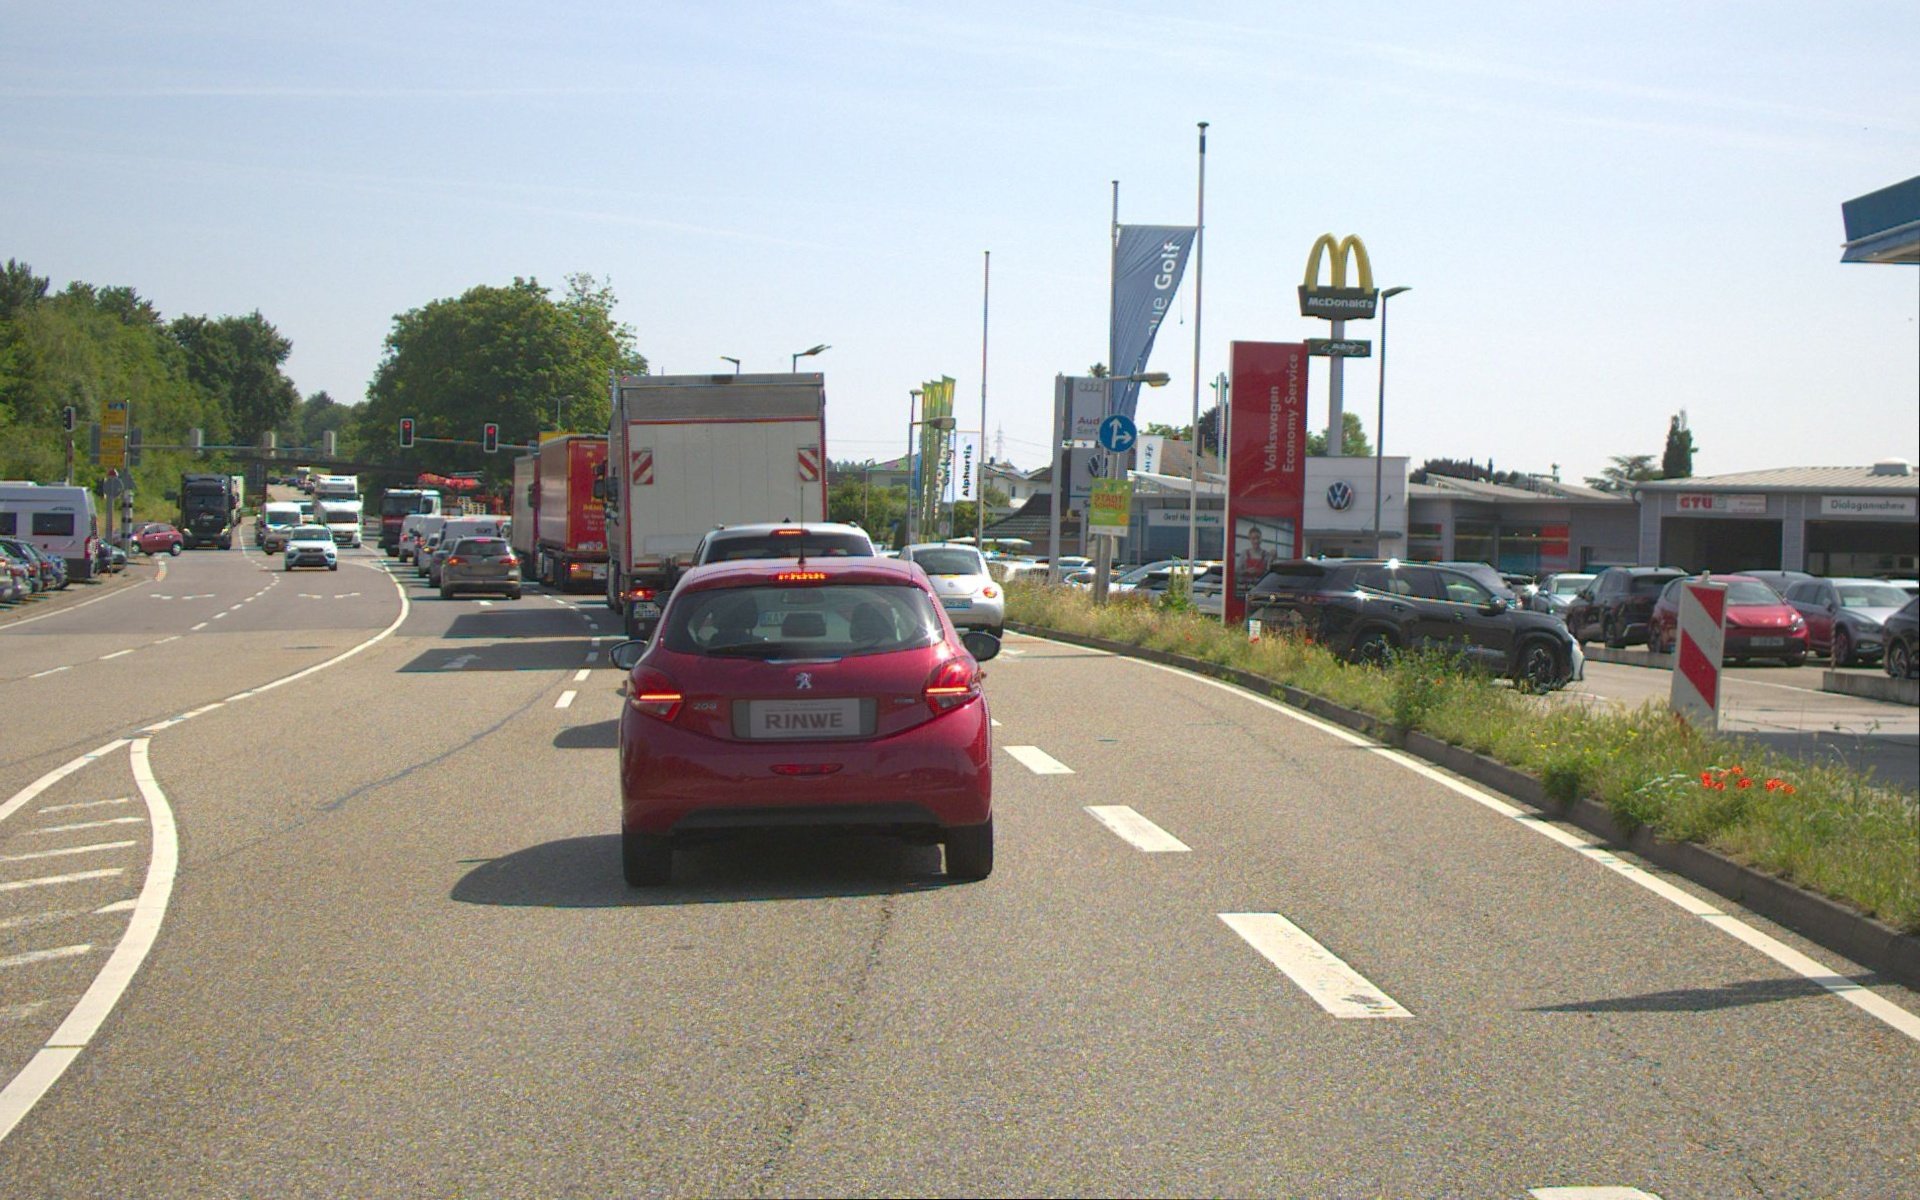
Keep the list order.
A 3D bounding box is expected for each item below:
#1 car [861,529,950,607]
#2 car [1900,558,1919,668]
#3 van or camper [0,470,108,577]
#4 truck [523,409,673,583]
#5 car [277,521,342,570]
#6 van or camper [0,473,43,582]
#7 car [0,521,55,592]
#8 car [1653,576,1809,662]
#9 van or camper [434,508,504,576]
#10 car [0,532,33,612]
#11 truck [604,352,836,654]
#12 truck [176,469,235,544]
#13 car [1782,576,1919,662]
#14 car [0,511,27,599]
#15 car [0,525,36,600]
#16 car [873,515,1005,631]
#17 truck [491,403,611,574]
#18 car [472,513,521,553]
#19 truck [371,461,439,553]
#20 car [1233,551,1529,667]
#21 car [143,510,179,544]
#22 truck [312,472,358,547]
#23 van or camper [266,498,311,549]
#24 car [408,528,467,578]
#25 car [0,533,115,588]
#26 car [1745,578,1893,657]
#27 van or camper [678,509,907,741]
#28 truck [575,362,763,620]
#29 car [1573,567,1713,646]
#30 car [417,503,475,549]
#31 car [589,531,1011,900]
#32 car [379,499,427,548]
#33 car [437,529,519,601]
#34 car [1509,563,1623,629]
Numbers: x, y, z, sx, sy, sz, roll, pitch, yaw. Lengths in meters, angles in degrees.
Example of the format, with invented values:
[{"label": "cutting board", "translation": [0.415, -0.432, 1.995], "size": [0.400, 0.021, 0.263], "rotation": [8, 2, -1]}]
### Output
[{"label": "car", "translation": [-1.287, -0.752, 80.526], "size": [1.993, 1.744, 4.000], "rotation": [1, 1, -1]}, {"label": "car", "translation": [14.818, 0.200, 48.618], "size": [1.613, 1.589, 3.862], "rotation": [-1, 1, -6]}, {"label": "van or camper", "translation": [-24.968, -2.016, 89.379], "size": [5.244, 2.722, 2.211], "rotation": [1, 1, -8]}, {"label": "truck", "translation": [-10.033, -2.799, 93.589], "size": [2.956, 4.255, 16.589], "rotation": [1, 1, -10]}, {"label": "car", "translation": [-23.168, -1.959, 122.567], "size": [1.935, 1.668, 4.001], "rotation": [-1, 1, -6]}, {"label": "van or camper", "translation": [-27.566, -1.986, 91.472], "size": [5.890, 2.863, 2.290], "rotation": [1, 2, -9]}, {"label": "car", "translation": [-22.611, -1.100, 76.702], "size": [4.457, 1.479, 1.772], "rotation": [4, 1, -11]}, {"label": "car", "translation": [13.470, 0.305, 60.227], "size": [1.558, 1.404, 3.596], "rotation": [-1, 1, -6]}, {"label": "van or camper", "translation": [-14.227, -1.692, 99.422], "size": [1.852, 1.899, 3.786], "rotation": [1, 1, -10]}, {"label": "car", "translation": [-19.850, -0.548, 66.264], "size": [3.706, 1.520, 1.793], "rotation": [0, 2, -11]}, {"label": "truck", "translation": [-3.614, -1.355, 49.090], "size": [2.878, 3.798, 11.144], "rotation": [0, 1, -6]}, {"label": "truck", "translation": [-39.441, -4.898, 179.651], "size": [2.812, 3.773, 6.992], "rotation": [-1, 2, -13]}, {"label": "car", "translation": [15.819, 0.312, 60.319], "size": [1.558, 1.404, 3.596], "rotation": [-1, 1, -6]}, {"label": "car", "translation": [-20.771, -1.032, 68.635], "size": [3.884, 1.711, 1.807], "rotation": [4, 1, -11]}, {"label": "car", "translation": [-21.602, -0.924, 71.691], "size": [4.275, 1.479, 1.837], "rotation": [4, 1, -11]}, {"label": "car", "translation": [-0.363, -0.434, 54.752], "size": [1.993, 1.744, 4.000], "rotation": [1, 1, -1]}, {"label": "truck", "translation": [-13.731, -3.657, 114.272], "size": [3.061, 5.202, 17.012], "rotation": [1, 1, -10]}, {"label": "car", "translation": [-18.313, -2.643, 135.756], "size": [1.726, 1.514, 3.313], "rotation": [1, 0, -10]}, {"label": "truck", "translation": [-26.607, -4.465, 165.121], "size": [2.955, 4.194, 10.650], "rotation": [-1, 2, -8]}, {"label": "car", "translation": [5.489, 0.096, 44.770], "size": [3.584, 1.404, 1.563], "rotation": [-1, 1, -30]}, {"label": "car", "translation": [-48.463, -4.409, 208.538], "size": [1.993, 2.007, 4.001], "rotation": [1, 1, -14]}, {"label": "truck", "translation": [-36.996, -5.372, 203.793], "size": [2.552, 4.292, 7.598], "rotation": [-1, 2, -10]}, {"label": "van or camper", "translation": [-34.897, -3.982, 178.691], "size": [2.172, 2.542, 4.172], "rotation": [1, 1, -10]}, {"label": "car", "translation": [-16.260, -1.459, 106.886], "size": [1.726, 1.514, 3.313], "rotation": [1, 1, -9]}, {"label": "car", "translation": [-26.411, -1.148, 99.201], "size": [3.815, 1.534, 1.843], "rotation": [0, 1, -10]}, {"label": "car", "translation": [16.475, 0.318, 66.090], "size": [1.558, 1.404, 3.690], "rotation": [-1, 1, -6]}, {"label": "van or camper", "translation": [-1.512, 0.148, 29.338], "size": [1.746, 1.781, 5.134], "rotation": [1, 1, -5]}, {"label": "truck", "translation": [-5.755, -1.995, 65.321], "size": [2.889, 4.251, 16.714], "rotation": [0, 1, -7]}, {"label": "car", "translation": [12.918, 0.102, 65.196], "size": [1.558, 1.404, 3.596], "rotation": [-1, 1, -6]}, {"label": "car", "translation": [-17.540, -2.508, 117.443], "size": [1.726, 1.514, 3.313], "rotation": [1, 1, -4]}, {"label": "car", "translation": [-0.790, 0.464, 16.745], "size": [1.800, 1.566, 3.714], "rotation": [-1, 1, -3]}, {"label": "car", "translation": [-22.571, -3.083, 139.419], "size": [1.726, 1.902, 3.313], "rotation": [1, 1, -6]}, {"label": "car", "translation": [-11.210, -0.826, 80.044], "size": [1.790, 1.633, 3.504], "rotation": [0, 1, -6]}, {"label": "car", "translation": [13.670, -0.103, 77.740], "size": [1.558, 1.404, 3.596], "rotation": [-1, 1, -6]}]
